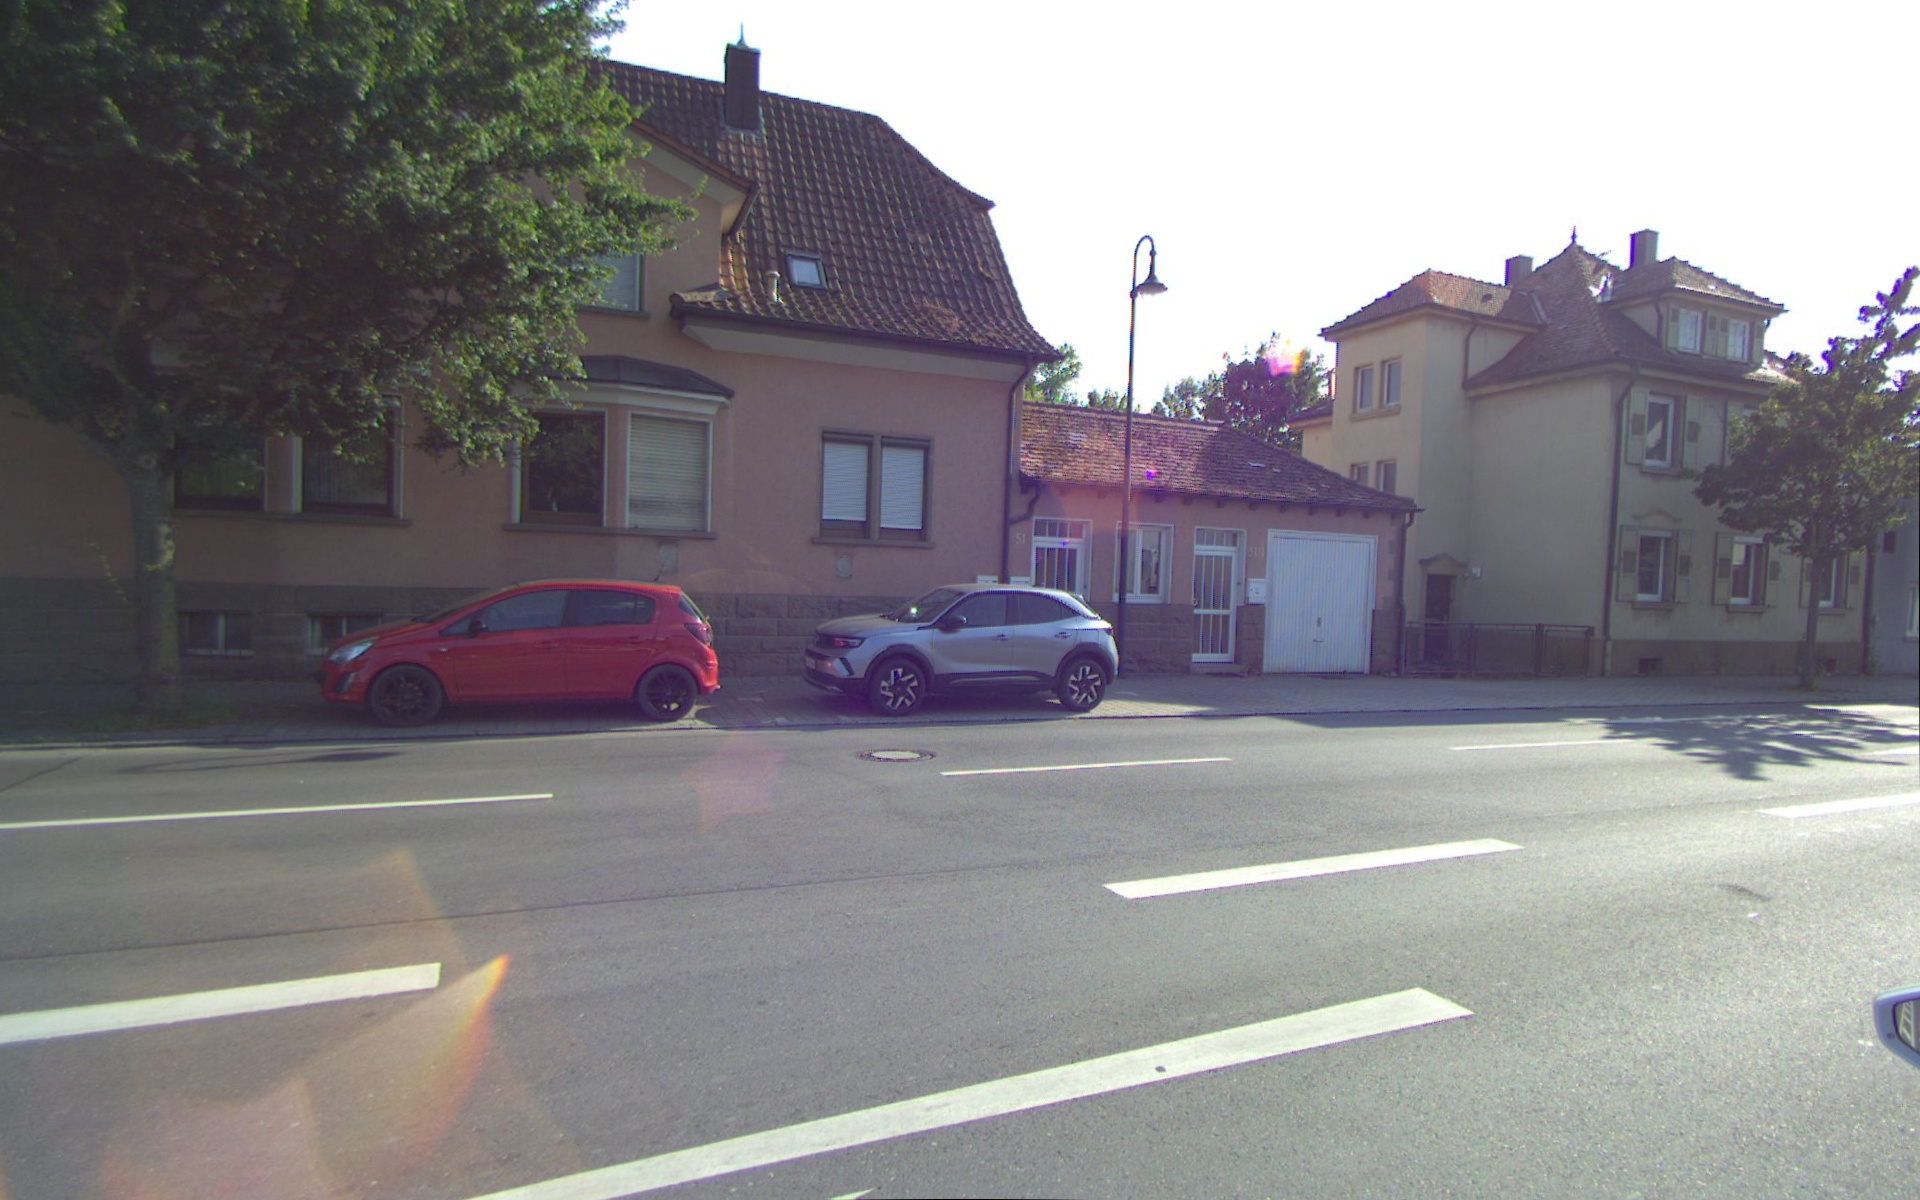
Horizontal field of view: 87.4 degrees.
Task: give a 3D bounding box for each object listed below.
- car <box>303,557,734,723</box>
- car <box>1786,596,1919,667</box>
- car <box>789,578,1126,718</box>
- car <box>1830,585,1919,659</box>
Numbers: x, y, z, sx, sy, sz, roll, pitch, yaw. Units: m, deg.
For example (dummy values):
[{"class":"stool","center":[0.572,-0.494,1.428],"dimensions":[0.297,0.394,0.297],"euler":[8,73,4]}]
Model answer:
[{"class":"car","center":[-4.593,0.394,10.879],"dimensions":[3.943,1.507,1.662],"euler":[2,3,-23]},{"class":"car","center":[29.527,0.996,31.703],"dimensions":[1.910,2.026,4.959],"euler":[1,2,-26]},{"class":"car","center":[-0.053,0.558,12.923],"dimensions":[3.942,1.499,1.751],"euler":[1,4,-23]},{"class":"car","center":[34.467,0.817,34.960],"dimensions":[2.163,2.513,5.903],"euler":[1,2,-24]}]
